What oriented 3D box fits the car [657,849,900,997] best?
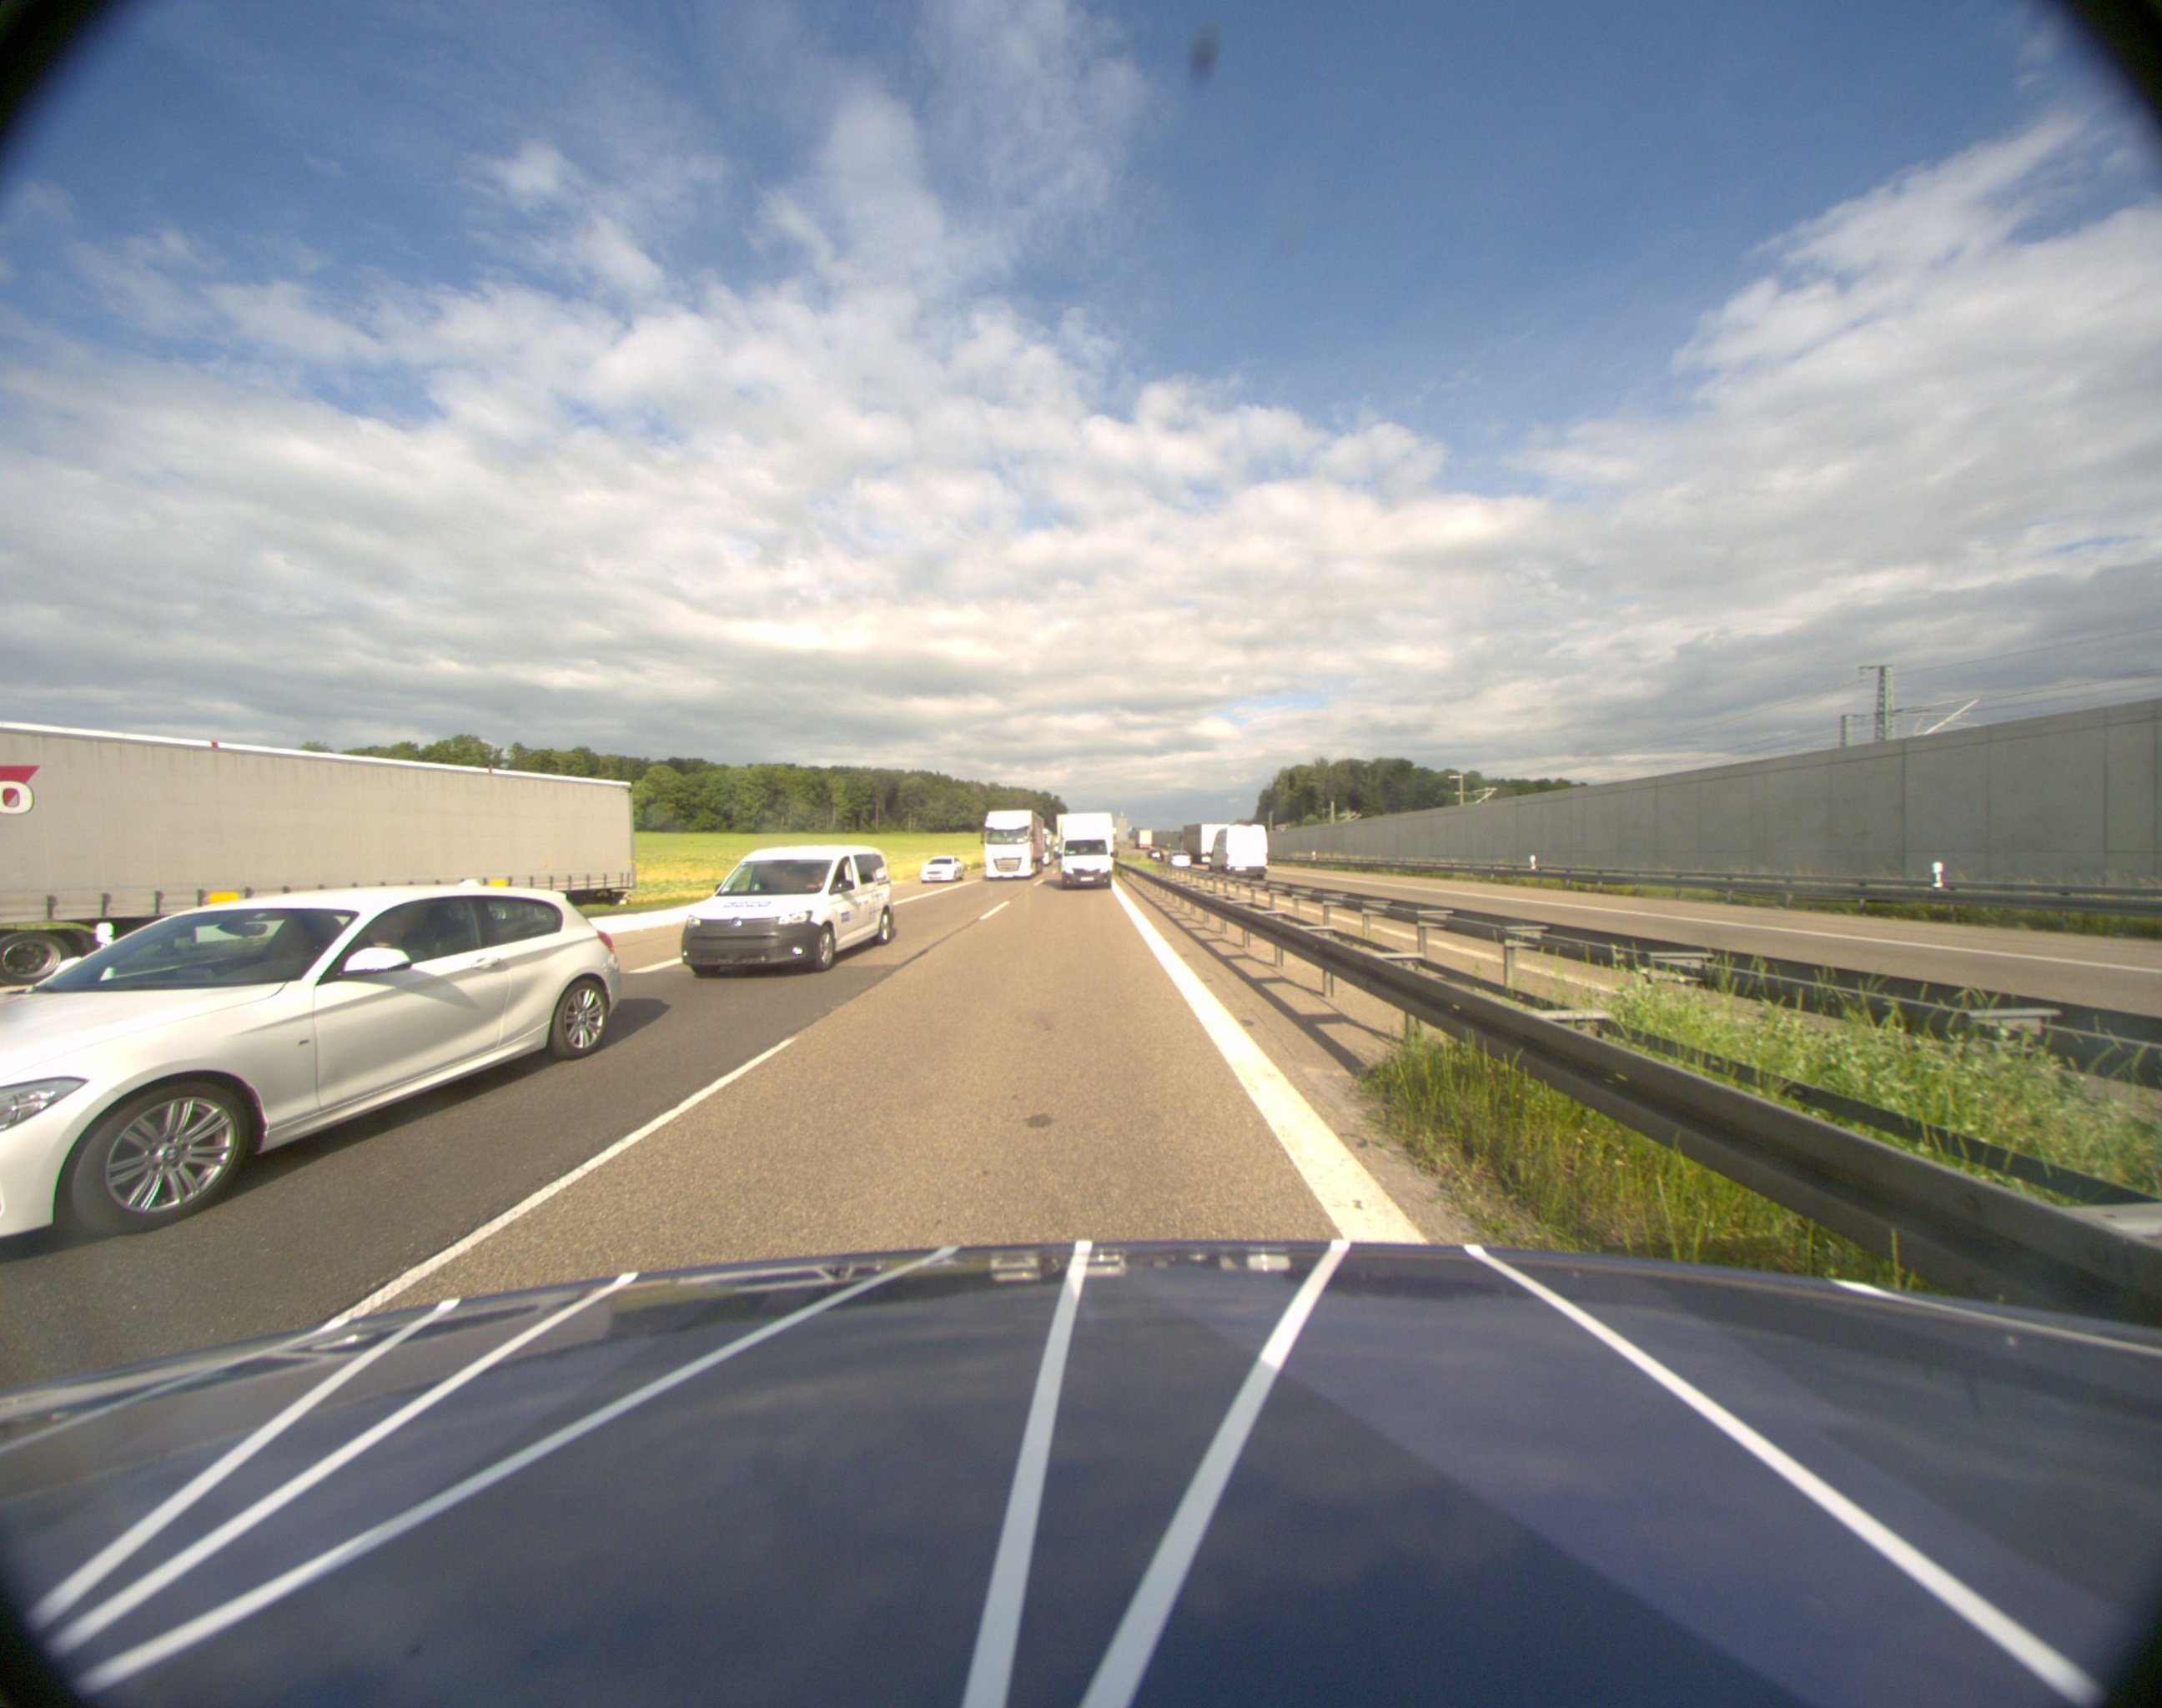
[{"bbox_3d":[-4.289,0.845,11.723,1.729,1.746,4.702,-3,0,1],"label":"car"}]

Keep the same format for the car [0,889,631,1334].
[{"bbox_3d":[-4.814,1.060,4.482,1.708,1.424,4.232,-2,0,1],"label":"car"}]

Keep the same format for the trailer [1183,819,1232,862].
[{"bbox_3d":[12.678,-1.314,77.438,2.797,4.054,13.518,0,1,0],"label":"trailer"}]

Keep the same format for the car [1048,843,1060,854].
[{"bbox_3d":[-4.454,-0.923,124.905,1.707,1.746,4.676,-3,0,1],"label":"car"}]

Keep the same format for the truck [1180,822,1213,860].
[{"bbox_3d":[12.693,-1.380,83.896,2.783,4.064,5.531,1,1,0],"label":"truck"}]

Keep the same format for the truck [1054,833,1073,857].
[{"bbox_3d":[-3.127,-1.648,137.927,2.946,4.094,16.207,-1,0,0],"label":"truck"}]

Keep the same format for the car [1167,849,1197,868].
[{"bbox_3d":[8.147,0.361,61.367,1.878,1.443,4.232,-1,1,1],"label":"car"}]

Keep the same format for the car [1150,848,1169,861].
[{"bbox_3d":[8.671,0.045,84.605,1.656,1.443,3.955,-1,1,0],"label":"car"}]

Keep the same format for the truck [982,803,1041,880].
[{"bbox_3d":[-3.982,-0.722,44.740,2.736,4.150,5.766,-2,1,0],"label":"truck"}]

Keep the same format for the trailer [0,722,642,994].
[{"bbox_3d":[-16.499,0.036,16.620,2.739,4.136,13.843,-2,0,15],"label":"trailer"}]

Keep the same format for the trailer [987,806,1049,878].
[{"bbox_3d":[-3.943,-0.841,51.157,2.742,4.137,14.016,-2,1,0],"label":"trailer"}]

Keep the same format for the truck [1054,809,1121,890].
[{"bbox_3d":[0.302,-0.221,35.577,2.500,3.082,12.037,-2,0,0],"label":"truck"}]

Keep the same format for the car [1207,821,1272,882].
[{"bbox_3d":[7.973,-0.150,38.847,2.109,2.854,5.636,-1,1,0],"label":"car"}]

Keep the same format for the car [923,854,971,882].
[{"bbox_3d":[-7.657,0.765,43.779,1.871,1.424,4.629,-2,0,0],"label":"car"}]

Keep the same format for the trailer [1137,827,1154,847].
[{"bbox_3d":[14.151,-3.644,167.230,2.690,4.014,13.790,-1,0,0],"label":"trailer"}]

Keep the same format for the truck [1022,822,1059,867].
[{"bbox_3d":[-3.964,-0.916,76.810,2.946,4.094,12.523,-1,1,0],"label":"truck"}]
